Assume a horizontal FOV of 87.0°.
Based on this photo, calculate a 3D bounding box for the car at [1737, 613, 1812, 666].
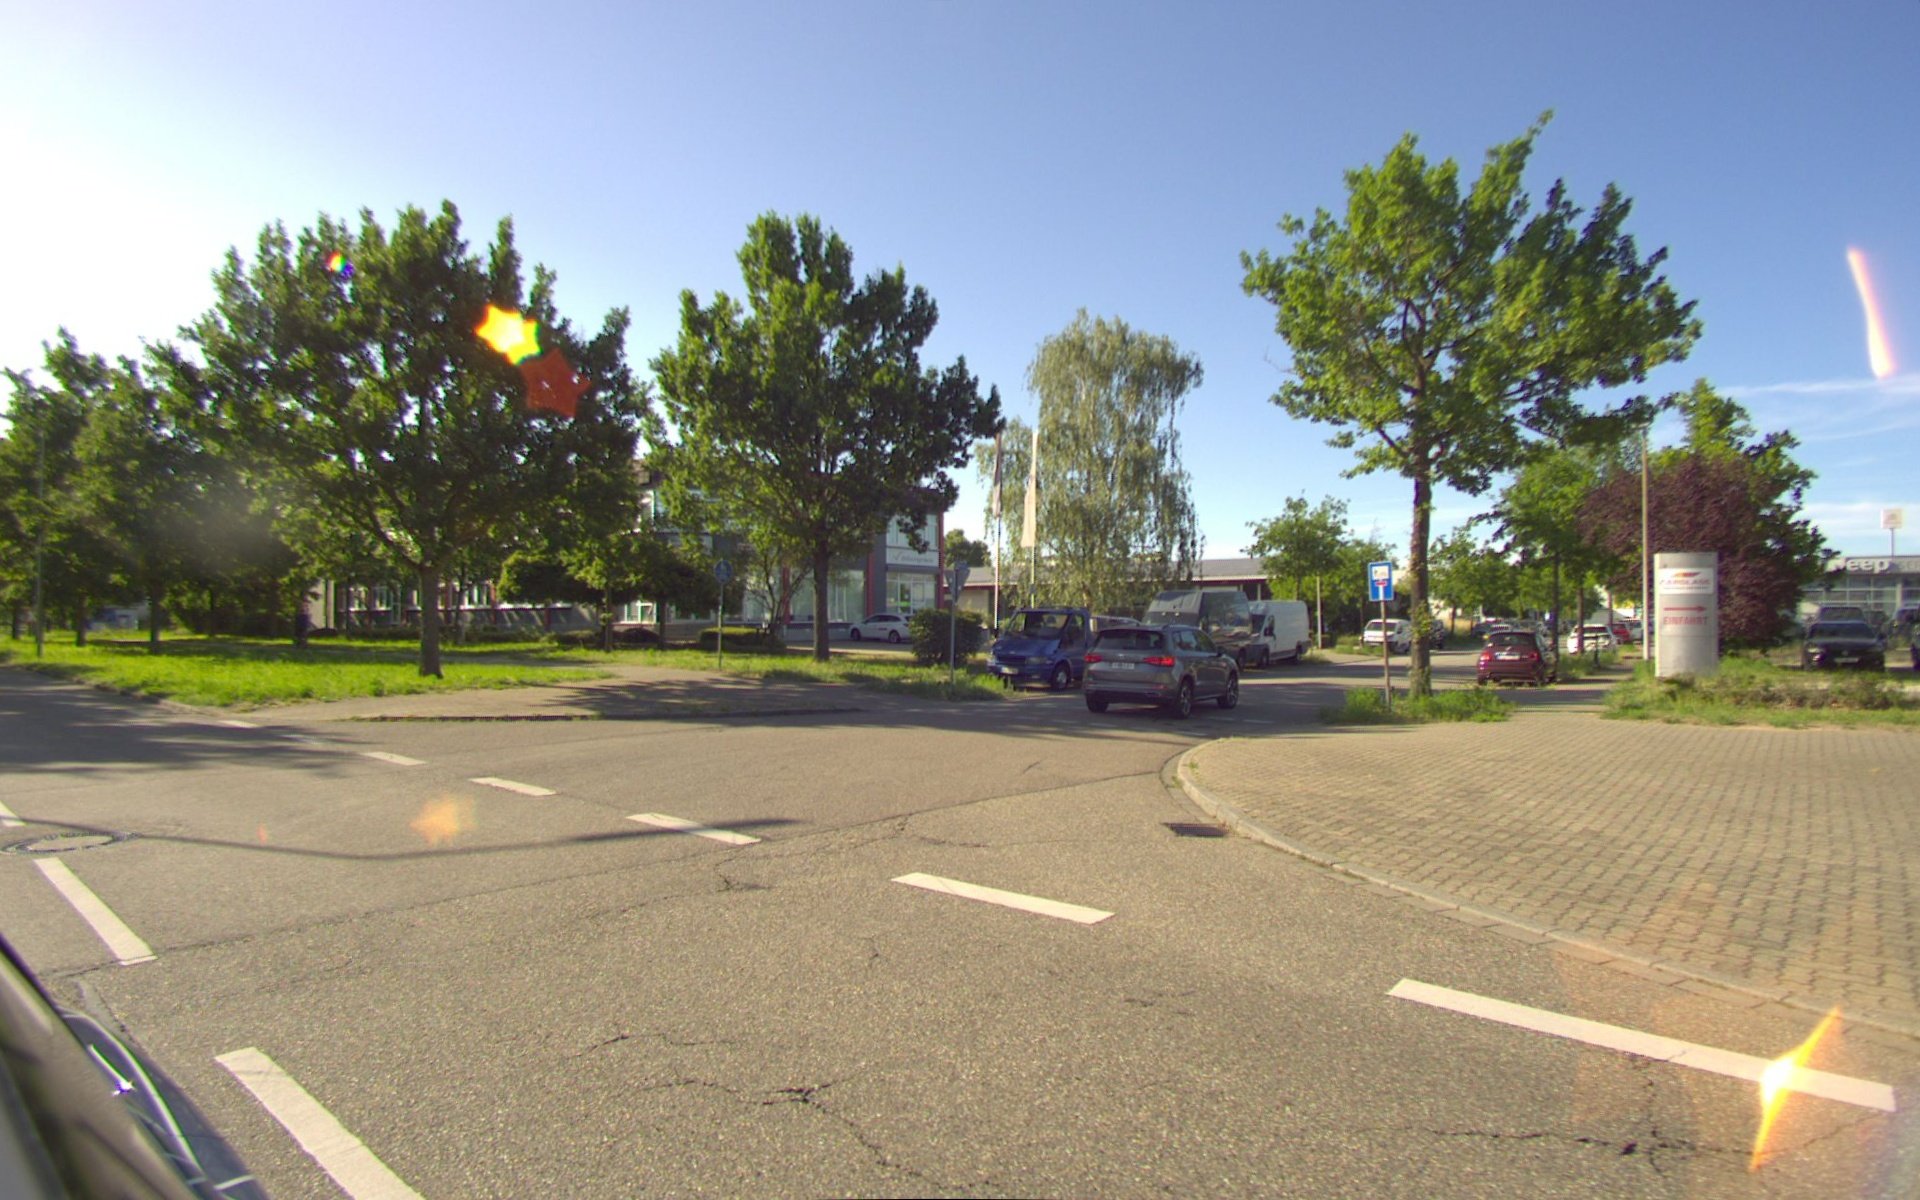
[{"bbox_3d":[30.781,1.465,38.338,1.881,1.899,4.202,-1,-2,35],"label":"car"}]

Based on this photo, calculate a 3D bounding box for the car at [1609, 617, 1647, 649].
[{"bbox_3d":[49.422,2.393,74.796,2.200,2.120,4.886,-1,0,35],"label":"car"}]

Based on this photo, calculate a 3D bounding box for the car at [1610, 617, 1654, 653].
[{"bbox_3d":[43.030,2.209,64.721,2.200,2.120,4.886,-1,0,35],"label":"car"}]

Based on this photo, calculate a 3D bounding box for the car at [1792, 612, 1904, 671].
[{"bbox_3d":[25.375,1.143,29.077,1.881,1.563,4.605,-1,-2,35],"label":"car"}]

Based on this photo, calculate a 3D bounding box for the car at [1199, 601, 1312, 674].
[{"bbox_3d":[11.506,1.334,39.043,2.296,2.535,6.284,-1,0,35],"label":"car"}]

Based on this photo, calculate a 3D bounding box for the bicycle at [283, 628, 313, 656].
[{"bbox_3d":[-29.313,1.848,44.794,2.333,1.170,0.545,-1,0,42],"label":"bicycle"}]

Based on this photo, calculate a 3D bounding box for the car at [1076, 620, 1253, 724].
[{"bbox_3d":[3.826,1.213,18.363,1.754,1.607,4.252,1,-1,32],"label":"car"}]

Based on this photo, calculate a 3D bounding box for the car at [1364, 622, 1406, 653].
[{"bbox_3d":[22.397,1.953,53.256,1.506,1.585,3.108,-1,-2,33],"label":"car"}]

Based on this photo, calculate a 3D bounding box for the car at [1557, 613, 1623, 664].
[{"bbox_3d":[29.169,1.691,46.804,2.296,2.120,5.297,-1,0,35],"label":"car"}]

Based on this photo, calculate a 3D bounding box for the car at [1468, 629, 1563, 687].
[{"bbox_3d":[15.529,1.572,28.184,1.820,1.493,4.154,-3,-3,35],"label":"car"}]

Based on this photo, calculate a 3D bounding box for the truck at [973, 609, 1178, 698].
[{"bbox_3d":[3.295,1.341,26.923,2.138,2.065,7.044,-1,-2,37],"label":"truck"}]

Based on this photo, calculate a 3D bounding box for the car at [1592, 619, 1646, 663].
[{"bbox_3d":[36.081,2.184,55.356,2.296,2.120,5.297,-1,0,35],"label":"car"}]

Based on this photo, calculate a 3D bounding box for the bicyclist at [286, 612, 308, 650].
[{"bbox_3d":[-29.416,1.364,44.899,0.658,1.641,0.657,-1,0,41],"label":"bicyclist"}]

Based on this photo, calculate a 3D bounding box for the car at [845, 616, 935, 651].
[{"bbox_3d":[-3.523,1.647,50.663,4.293,1.505,1.974,1,1,39],"label":"car"}]

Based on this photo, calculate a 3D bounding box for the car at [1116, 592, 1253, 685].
[{"bbox_3d":[7.396,1.127,32.797,2.296,2.723,5.811,-1,0,35],"label":"car"}]

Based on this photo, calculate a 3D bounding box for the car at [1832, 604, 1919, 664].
[{"bbox_3d":[32.961,1.169,36.464,1.881,1.981,4.202,-1,0,35],"label":"car"}]
